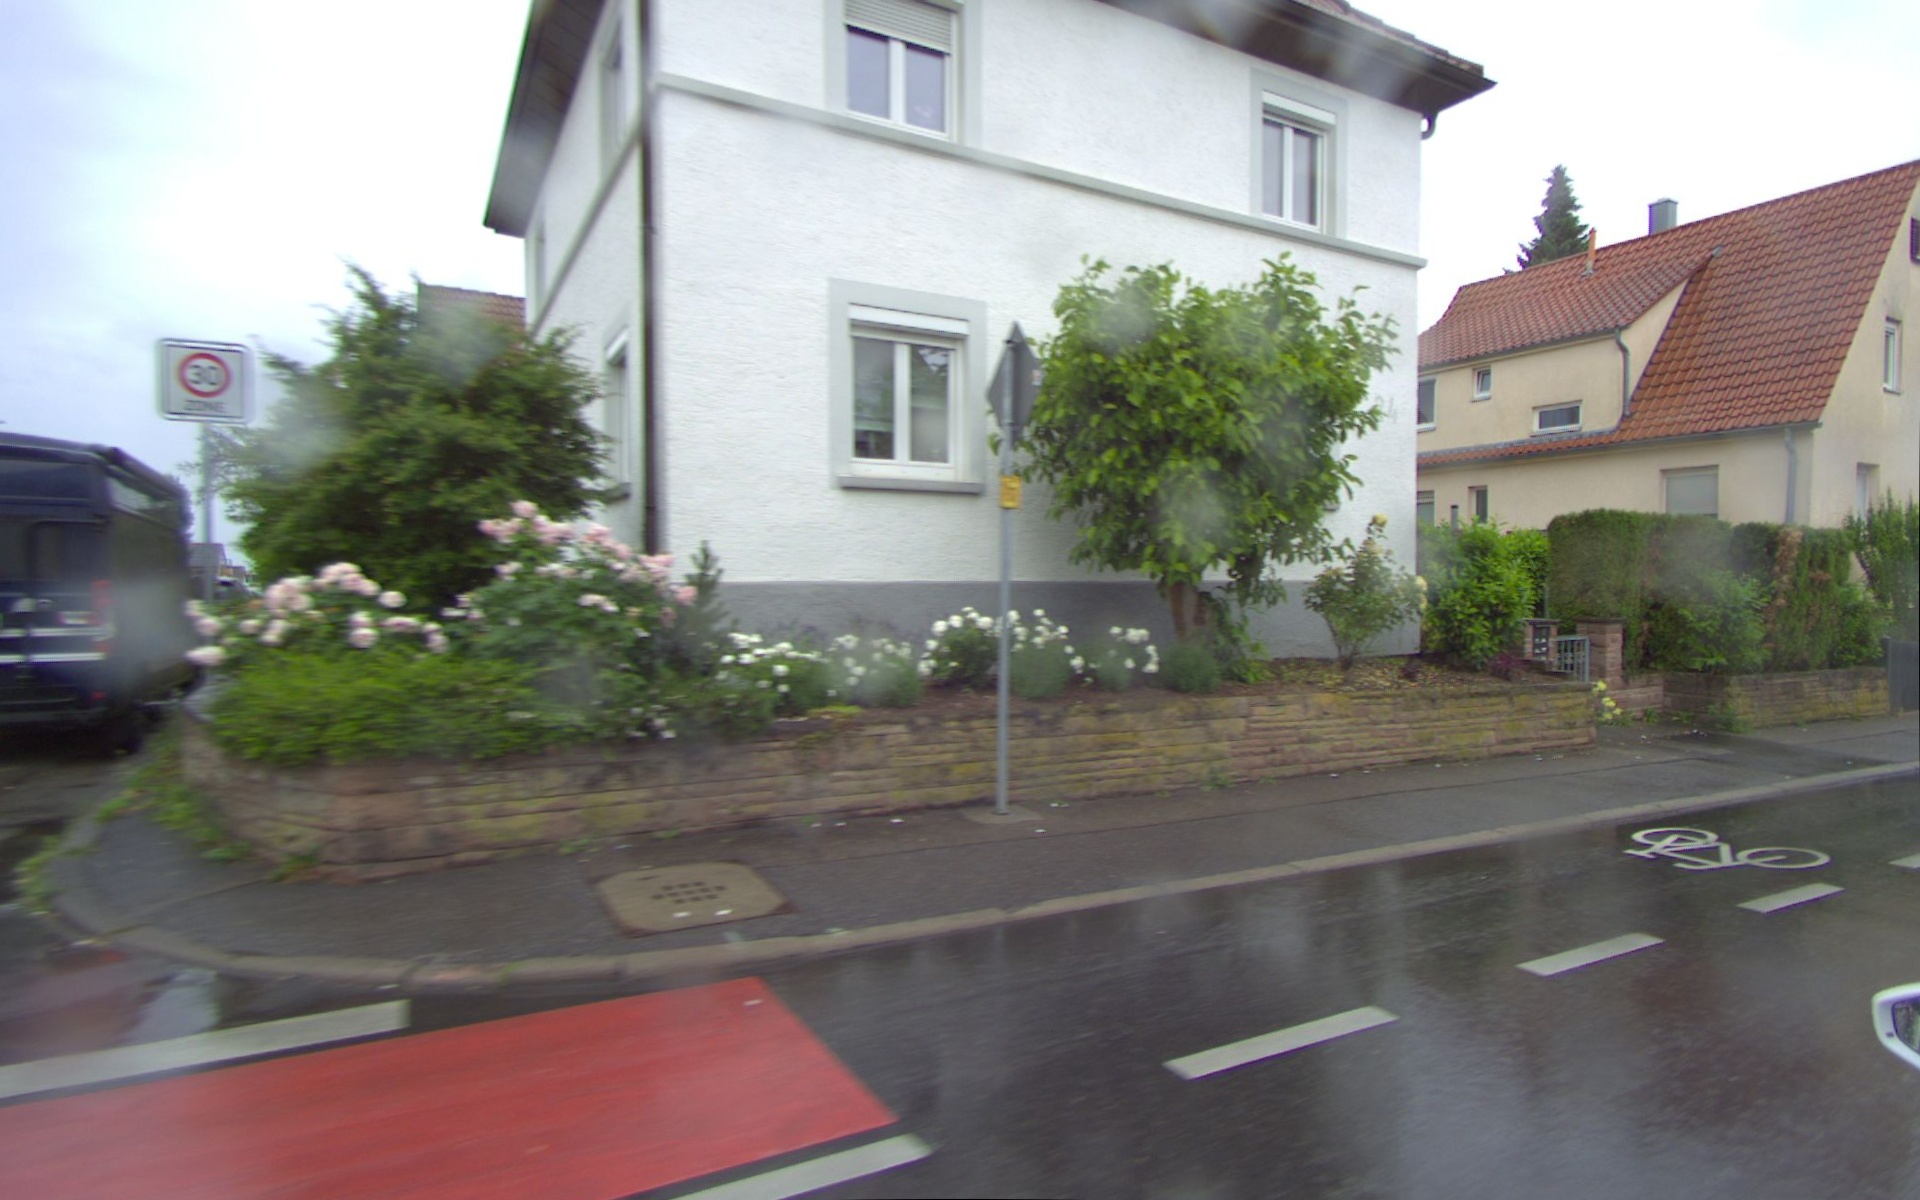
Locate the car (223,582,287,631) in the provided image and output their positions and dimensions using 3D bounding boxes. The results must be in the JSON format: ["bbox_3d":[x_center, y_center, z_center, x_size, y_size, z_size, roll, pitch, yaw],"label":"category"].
[{"bbox_3d":[-25.193,0.232,35.985,1.685,1.656,3.547,1,0,-33],"label":"car"}]

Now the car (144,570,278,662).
[{"bbox_3d":[-15.140,0.294,20.484,1.751,1.684,3.550,1,0,-30],"label":"car"}]

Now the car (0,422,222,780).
[{"bbox_3d":[-8.710,-0.047,9.571,2.265,2.641,5.396,0,1,-32],"label":"car"}]

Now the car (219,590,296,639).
[{"bbox_3d":[-21.952,0.437,31.482,1.655,1.436,3.550,1,0,-30],"label":"car"}]
